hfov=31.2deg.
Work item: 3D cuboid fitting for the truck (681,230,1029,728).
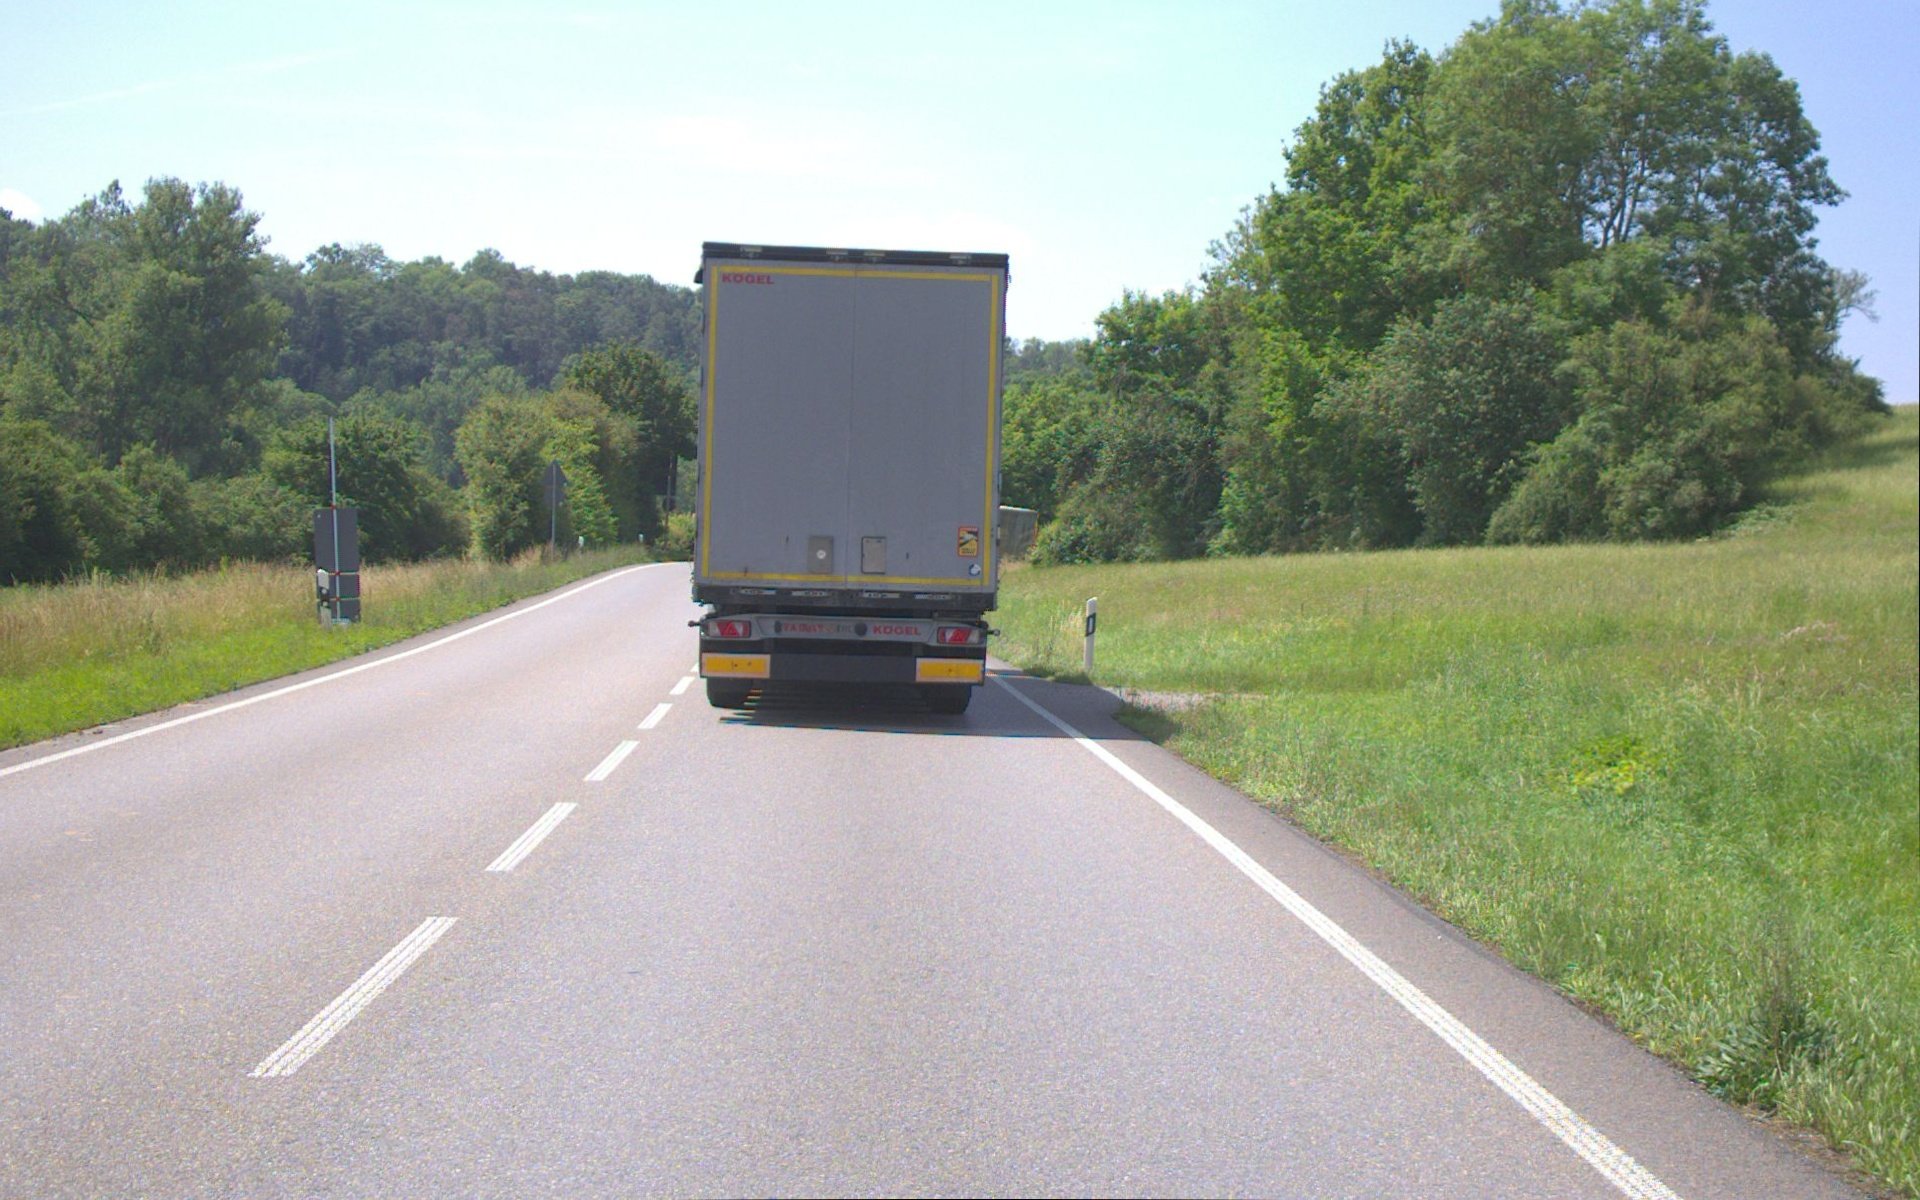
[{"bbox_3d":[-1.260,-1.095,35.988,2.801,4.055,15.327,1,1,-3],"label":"truck"}]

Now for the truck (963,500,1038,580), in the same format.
[{"bbox_3d":[2.380,-3.329,196.143,3.304,4.371,13.409,1,0,5],"label":"truck"}]
